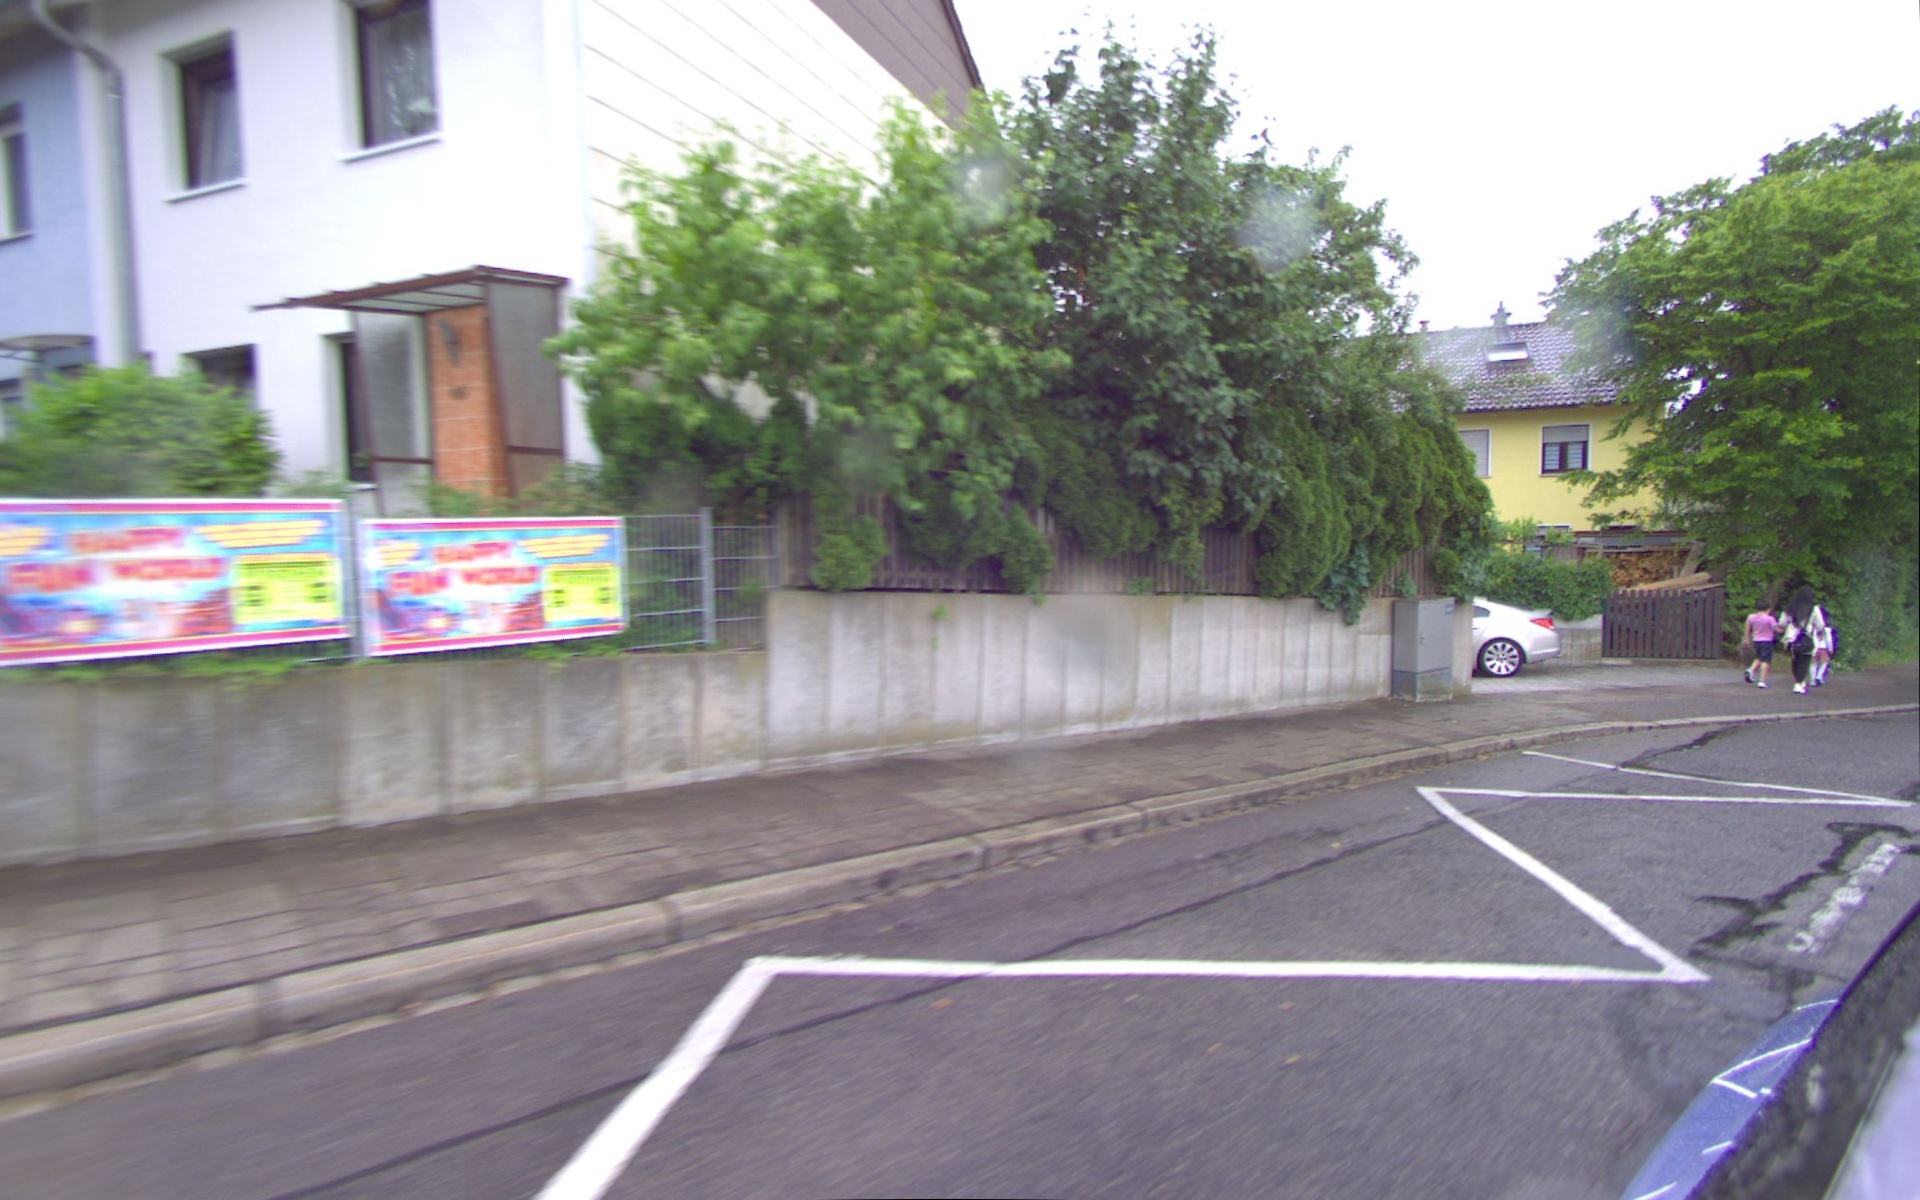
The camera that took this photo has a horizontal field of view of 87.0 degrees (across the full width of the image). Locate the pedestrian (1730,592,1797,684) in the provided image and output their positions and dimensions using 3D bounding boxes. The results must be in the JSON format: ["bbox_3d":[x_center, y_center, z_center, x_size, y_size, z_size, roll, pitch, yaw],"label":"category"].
[{"bbox_3d":[12.512,0.577,15.763,0.633,1.371,0.605,0,2,-32],"label":"pedestrian"}]

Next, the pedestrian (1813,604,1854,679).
[{"bbox_3d":[13.830,0.649,16.028,0.359,1.160,0.369,0,2,-32],"label":"pedestrian"}]

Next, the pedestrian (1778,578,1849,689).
[{"bbox_3d":[12.846,0.487,15.234,0.633,1.613,0.612,0,2,-32],"label":"pedestrian"}]

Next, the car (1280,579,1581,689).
[{"bbox_3d":[8.190,0.602,18.073,4.546,1.438,1.779,-6,-1,20],"label":"car"}]
